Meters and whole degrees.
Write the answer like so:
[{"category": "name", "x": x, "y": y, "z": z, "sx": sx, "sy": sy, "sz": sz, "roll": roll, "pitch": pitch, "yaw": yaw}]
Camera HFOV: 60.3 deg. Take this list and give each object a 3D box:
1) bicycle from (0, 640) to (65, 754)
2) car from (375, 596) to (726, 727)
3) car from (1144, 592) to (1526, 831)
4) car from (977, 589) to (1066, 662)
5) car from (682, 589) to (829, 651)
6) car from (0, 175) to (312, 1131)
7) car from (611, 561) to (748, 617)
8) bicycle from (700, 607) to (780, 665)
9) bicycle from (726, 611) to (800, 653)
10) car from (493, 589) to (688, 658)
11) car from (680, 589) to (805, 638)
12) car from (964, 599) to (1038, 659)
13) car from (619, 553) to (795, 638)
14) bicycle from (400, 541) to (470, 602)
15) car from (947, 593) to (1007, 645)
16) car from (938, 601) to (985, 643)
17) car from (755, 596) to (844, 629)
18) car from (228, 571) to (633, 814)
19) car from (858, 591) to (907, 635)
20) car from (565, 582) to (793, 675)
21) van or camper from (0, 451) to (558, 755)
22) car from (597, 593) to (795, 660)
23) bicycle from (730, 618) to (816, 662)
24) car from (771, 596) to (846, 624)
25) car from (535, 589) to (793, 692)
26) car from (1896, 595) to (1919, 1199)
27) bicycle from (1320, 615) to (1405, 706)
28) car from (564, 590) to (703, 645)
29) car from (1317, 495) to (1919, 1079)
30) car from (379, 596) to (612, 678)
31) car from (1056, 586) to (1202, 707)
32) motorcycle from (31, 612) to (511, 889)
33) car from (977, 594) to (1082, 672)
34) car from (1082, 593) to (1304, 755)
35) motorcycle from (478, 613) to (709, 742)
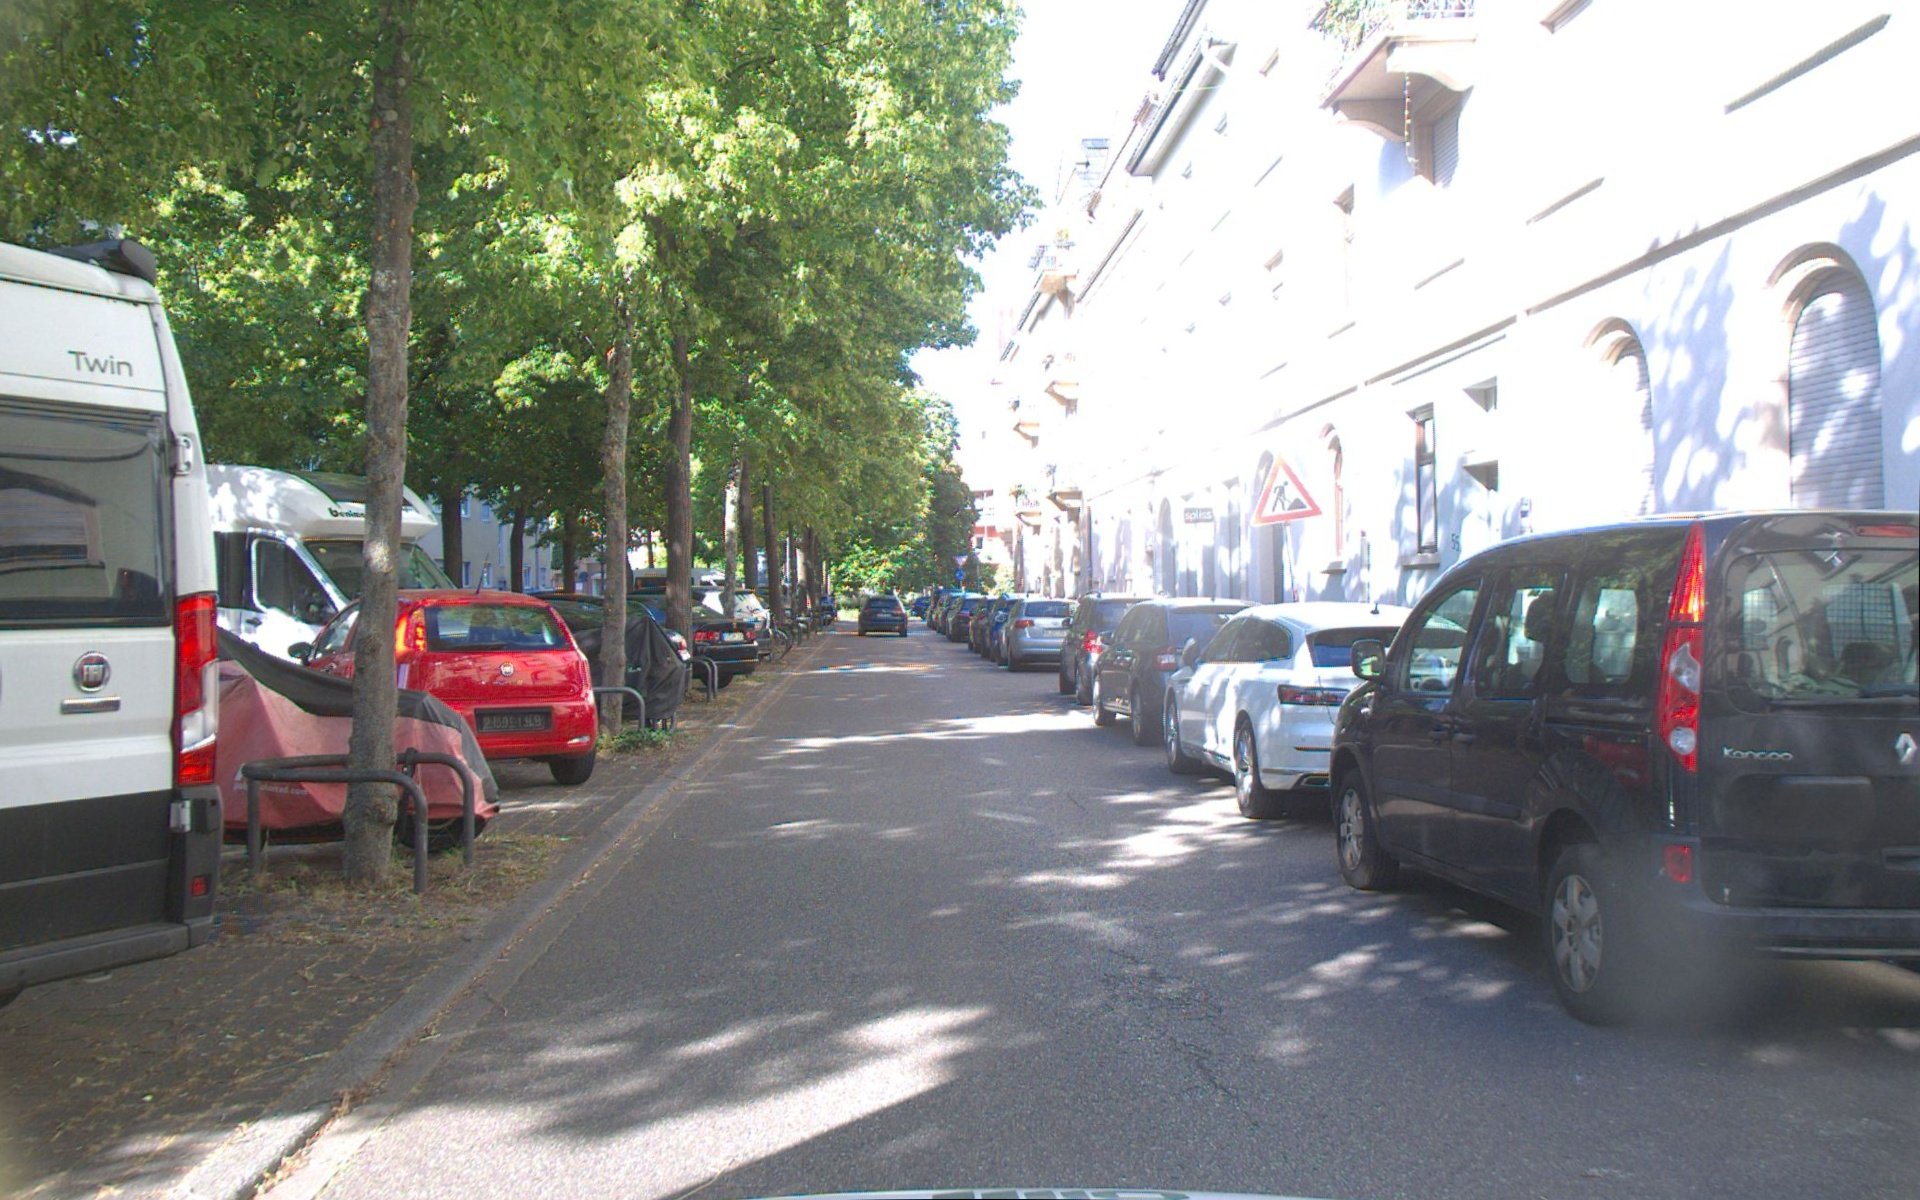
[{"category": "bicycle", "x": -9.411, "y": 0.869, "z": 14.768, "sx": 2.402, "sy": 0.996, "sz": 0.630, "roll": 0, "pitch": 0, "yaw": -16}, {"category": "car", "x": -4.978, "y": 0.701, "z": 19.997, "sx": 4.065, "sy": 1.450, "sz": 1.712, "roll": -1, "pitch": -1, "yaw": 29}, {"category": "car", "x": 2.597, "y": 0.687, "z": 12.587, "sx": 1.575, "sy": 1.445, "sz": 4.565, "roll": -1, "pitch": 0, "yaw": -4}, {"category": "car", "x": 1.388, "y": 0.568, "z": 38.876, "sx": 1.732, "sy": 1.579, "sz": 4.181, "roll": -1, "pitch": 0, "yaw": -3}, {"category": "car", "x": -5.588, "y": 0.523, "z": 45.225, "sx": 3.607, "sy": 1.624, "sz": 1.772, "roll": 0, "pitch": 0, "yaw": 22}, {"category": "car", "x": -5.375, "y": 0.148, "z": 5.907, "sx": 6.188, "sy": 2.603, "sz": 2.334, "roll": 0, "pitch": -1, "yaw": 29}, {"category": "car", "x": -9.569, "y": -0.349, "z": 56.446, "sx": 4.292, "sy": 1.808, "sz": 1.898, "roll": -1, "pitch": -1, "yaw": 25}, {"category": "bicycle", "x": -4.640, "y": 0.755, "z": 34.856, "sx": 1.650, "sy": 1.179, "sz": 0.379, "roll": 0, "pitch": 0, "yaw": 17}, {"category": "bicycle", "x": -4.928, "y": 0.806, "z": 41.314, "sx": 1.772, "sy": 1.011, "sz": 0.426, "roll": -1, "pitch": 0, "yaw": 12}, {"category": "car", "x": -8.369, "y": 0.513, "z": 37.462, "sx": 4.021, "sy": 1.498, "sz": 1.870, "roll": 0, "pitch": 0, "yaw": 26}, {"category": "car", "x": -7.737, "y": 0.462, "z": 58.723, "sx": 4.178, "sy": 1.670, "sz": 1.654, "roll": 1, "pitch": 0, "yaw": 25}, {"category": "car", "x": 1.035, "y": 0.738, "z": 43.535, "sx": 1.658, "sy": 1.493, "sz": 4.002, "roll": 0, "pitch": 0, "yaw": -3}, {"category": "car", "x": -9.520, "y": -0.140, "z": 62.481, "sx": 5.936, "sy": 2.668, "sz": 2.457, "roll": -5, "pitch": -2, "yaw": 12}, {"category": "bicycle", "x": -10.873, "y": -0.579, "z": 34.302, "sx": 0.348, "sy": 1.221, "sz": 1.801, "roll": 1, "pitch": 0, "yaw": 20}, {"category": "car", "x": 0.514, "y": 0.581, "z": 53.718, "sx": 1.769, "sy": 1.591, "sz": 4.319, "roll": -2, "pitch": 0, "yaw": -2}, {"category": "car", "x": 0.022, "y": 0.762, "z": 59.684, "sx": 1.558, "sy": 1.440, "sz": 3.630, "roll": 1, "pitch": 0, "yaw": -2}, {"category": "car", "x": -7.445, "y": 0.587, "z": 76.541, "sx": 4.014, "sy": 1.492, "sz": 1.862, "roll": 1, "pitch": -1, "yaw": -10}, {"category": "car", "x": -4.366, "y": 0.655, "z": 13.318, "sx": 1.650, "sy": 1.646, "sz": 3.820, "roll": -2, "pitch": 0, "yaw": -42}, {"category": "car", "x": -2.783, "y": 0.449, "z": 60.158, "sx": 1.679, "sy": 1.509, "sz": 4.143, "roll": -2, "pitch": 0, "yaw": -2}, {"category": "car", "x": -5.426, "y": 0.517, "z": 31.999, "sx": 3.994, "sy": 1.682, "sz": 1.862, "roll": 0, "pitch": 0, "yaw": 24}, {"category": "van or camper", "x": -7.621, "y": 0.005, "z": 18.058, "sx": 6.162, "sy": 2.874, "sz": 2.405, "roll": 0, "pitch": 0, "yaw": 26}, {"category": "car", "x": -6.354, "y": 0.611, "z": 39.763, "sx": 4.523, "sy": 1.512, "sz": 1.759, "roll": 0, "pitch": 0, "yaw": 26}, {"category": "bicycle", "x": -4.101, "y": 0.869, "z": 36.196, "sx": 1.858, "sy": 0.935, "sz": 0.379, "roll": 0, "pitch": 0, "yaw": 17}, {"category": "car", "x": -8.432, "y": 0.547, "z": 91.862, "sx": 4.061, "sy": 1.507, "sz": 1.768, "roll": -1, "pitch": -1, "yaw": 38}, {"category": "car", "x": -4.707, "y": 0.634, "z": 26.130, "sx": 3.935, "sy": 1.499, "sz": 1.622, "roll": -2, "pitch": 0, "yaw": 32}, {"category": "car", "x": 3.184, "y": 0.744, "z": 1.860, "sx": 1.670, "sy": 1.538, "sz": 4.281, "roll": -1, "pitch": 0, "yaw": -3}, {"category": "bicycle", "x": 5.635, "y": 0.820, "z": 23.231, "sx": 0.399, "sy": 1.207, "sz": 1.843, "roll": 0, "pitch": 0, "yaw": -12}, {"category": "car", "x": -9.988, "y": 0.536, "z": 50.540, "sx": 3.828, "sy": 1.583, "sz": 1.844, "roll": -1, "pitch": 0, "yaw": 28}, {"category": "car", "x": 3.003, "y": 0.572, "z": 7.274, "sx": 1.736, "sy": 1.825, "sz": 3.986, "roll": -1, "pitch": 0, "yaw": -4}, {"category": "car", "x": -8.557, "y": 0.647, "z": 30.418, "sx": 4.108, "sy": 1.415, "sz": 1.814, "roll": 0, "pitch": 0, "yaw": 31}, {"category": "car", "x": 2.319, "y": 0.599, "z": 23.601, "sx": 1.548, "sy": 1.578, "sz": 4.040, "roll": 0, "pitch": 0, "yaw": -2}, {"category": "motorcycle", "x": -3.704, "y": 0.769, "z": 9.140, "sx": 2.278, "sy": 1.358, "sz": 0.966, "roll": -1, "pitch": 0, "yaw": -12}, {"category": "car", "x": 1.356, "y": 0.624, "z": 33.849, "sx": 1.734, "sy": 1.456, "sz": 4.288, "roll": -1, "pitch": 0, "yaw": -3}, {"category": "car", "x": 2.395, "y": 0.701, "z": 17.907, "sx": 1.567, "sy": 1.518, "sz": 3.963, "roll": -1, "pitch": 0, "yaw": -4}, {"category": "motorcycle", "x": -3.679, "y": 0.765, "z": 16.707, "sx": 2.102, "sy": 1.251, "sz": 0.882, "roll": 0, "pitch": 0, "yaw": 6}]
